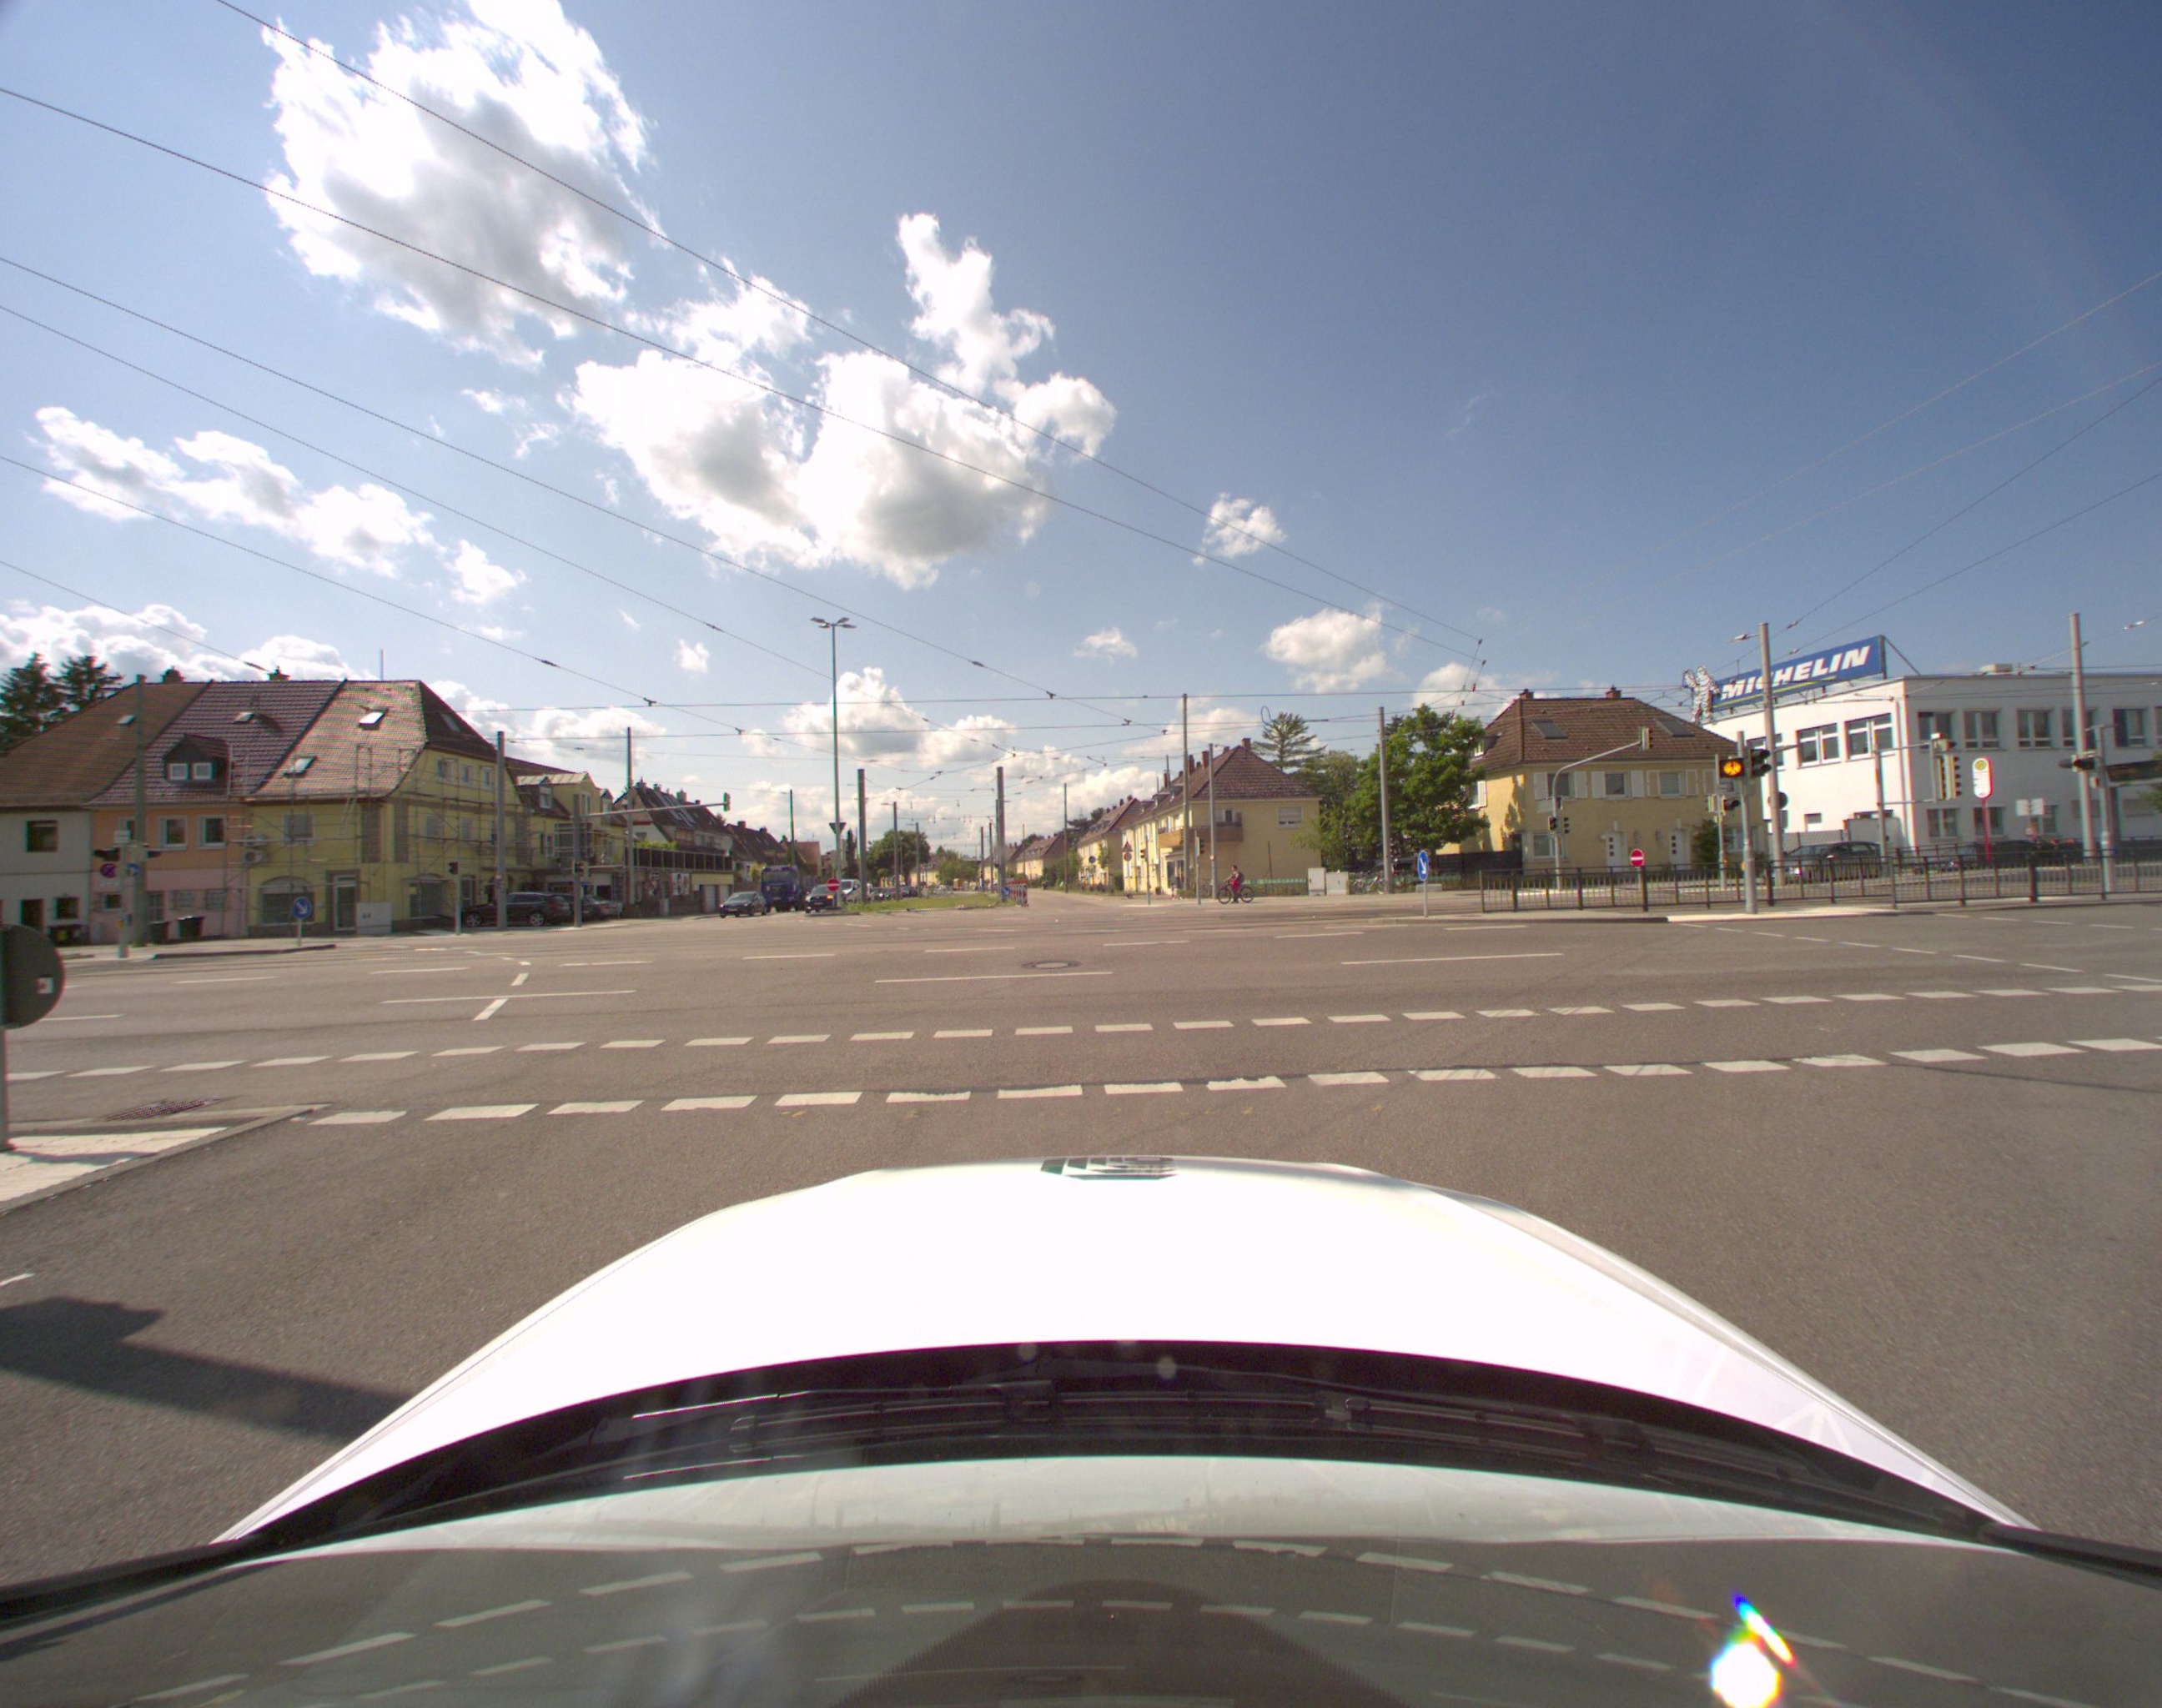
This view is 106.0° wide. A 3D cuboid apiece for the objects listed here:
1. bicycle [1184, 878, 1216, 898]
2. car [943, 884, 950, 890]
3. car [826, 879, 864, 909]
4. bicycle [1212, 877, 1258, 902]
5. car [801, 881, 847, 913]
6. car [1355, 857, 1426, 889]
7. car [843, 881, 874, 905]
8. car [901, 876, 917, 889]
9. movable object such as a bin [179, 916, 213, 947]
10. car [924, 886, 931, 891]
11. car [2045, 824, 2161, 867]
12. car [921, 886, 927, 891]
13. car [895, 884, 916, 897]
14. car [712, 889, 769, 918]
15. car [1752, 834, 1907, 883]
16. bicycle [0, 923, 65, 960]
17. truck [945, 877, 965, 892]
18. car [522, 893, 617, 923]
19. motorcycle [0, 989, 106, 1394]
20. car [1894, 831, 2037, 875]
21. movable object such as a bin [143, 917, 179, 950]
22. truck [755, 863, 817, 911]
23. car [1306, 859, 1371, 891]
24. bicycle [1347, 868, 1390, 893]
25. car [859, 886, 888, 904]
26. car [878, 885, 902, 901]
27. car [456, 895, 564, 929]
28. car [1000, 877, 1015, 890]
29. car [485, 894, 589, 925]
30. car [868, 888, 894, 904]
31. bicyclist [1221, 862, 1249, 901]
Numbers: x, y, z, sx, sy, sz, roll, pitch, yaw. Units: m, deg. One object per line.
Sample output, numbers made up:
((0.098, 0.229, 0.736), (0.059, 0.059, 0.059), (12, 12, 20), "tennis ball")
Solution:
((6.707, 1.919, 45.941), (0.596, 1.096, 2.257), (-1, -2, -26), "bicycle")
((-36.208, 8.880, 218.813), (1.263, 1.426, 2.643), (-2, -2, -24), "car")
((-16.129, 2.696, 55.779), (1.814, 1.922, 4.733), (-2, -2, -9), "car")
((7.124, 1.641, 37.755), (2.037, 1.102, 0.709), (-1, -2, -25), "bicycle")
((-15.528, 2.548, 49.378), (1.785, 1.721, 4.429), (-2, -1, -7), "car")
((17.222, 1.098, 45.520), (1.822, 1.621, 3.985), (-2, -3, -10), "car")
((-17.338, 3.033, 63.617), (1.732, 1.782, 4.391), (-2, -2, -9), "car")
((-33.206, 5.475, 157.075), (2.413, 2.370, 4.849), (-2, -1, -18), "car")
((-37.489, 3.272, 34.497), (0.680, 1.260, 0.681), (-1, -2, -4), "movable object such as a bin")
((-44.871, 10.100, 237.893), (1.264, 1.426, 2.642), (-1, -2, -25), "car")
((45.836, -0.373, 36.122), (3.978, 1.692, 1.937), (-2, -2, -3), "car")
((-46.685, 10.344, 242.145), (1.264, 1.426, 2.641), (-1, -2, -27), "car")
((-23.715, 4.948, 110.157), (1.813, 1.552, 4.000), (-2, -1, 1), "car")
((-19.922, 2.874, 47.805), (1.825, 1.487, 4.324), (-2, -2, -6), "car")
((27.112, 0.176, 29.566), (3.978, 1.568, 1.840), (-2, -2, -3), "car")
((-42.877, 3.532, 32.792), (0.771, 1.356, 2.457), (-1, -1, 1), "bicycle")
((-32.044, 7.846, 206.826), (2.653, 3.494, 9.360), (-2, -2, -24), "truck")
((-27.954, 2.940, 44.580), (4.133, 1.493, 1.430), (0, -2, -9), "car")
((-3.548, 0.993, 1.427), (0.838, 1.128, 2.358), (-2, -1, -1), "motorcycle")
((33.037, -0.024, 30.479), (3.702, 1.446, 1.574), (-2, -2, -3), "car")
((-37.458, 3.240, 33.163), (0.680, 1.260, 0.681), (-1, -2, -4), "movable object such as a bin")
((-21.355, 2.385, 59.393), (2.767, 3.189, 7.558), (-2, -2, -9), "truck")
((14.415, 1.213, 45.827), (1.822, 1.621, 3.985), (-2, -3, -10), "car")
((13.837, 1.272, 39.205), (1.785, 1.105, 0.707), (-4, -2, 38), "bicycle")
((-17.878, 3.546, 70.313), (1.914, 1.419, 3.987), (-2, -2, -9), "car")
((-19.784, 4.044, 84.339), (1.842, 1.494, 4.843), (-2, -2, -7), "car")
((-27.418, 2.768, 39.207), (4.133, 1.493, 1.175), (0, -2, -9), "car")
((-13.305, 5.342, 147.062), (2.066, 2.149, 4.860), (-2, -2, -10), "car")
((-27.894, 2.839, 41.872), (4.133, 1.493, 1.502), (0, -2, -9), "car")
((-18.926, 3.936, 77.287), (1.842, 1.413, 4.901), (-2, -2, -8), "car")
((7.160, 1.290, 37.778), (0.962, 1.775, 0.713), (-1, -2, -27), "bicyclist")
